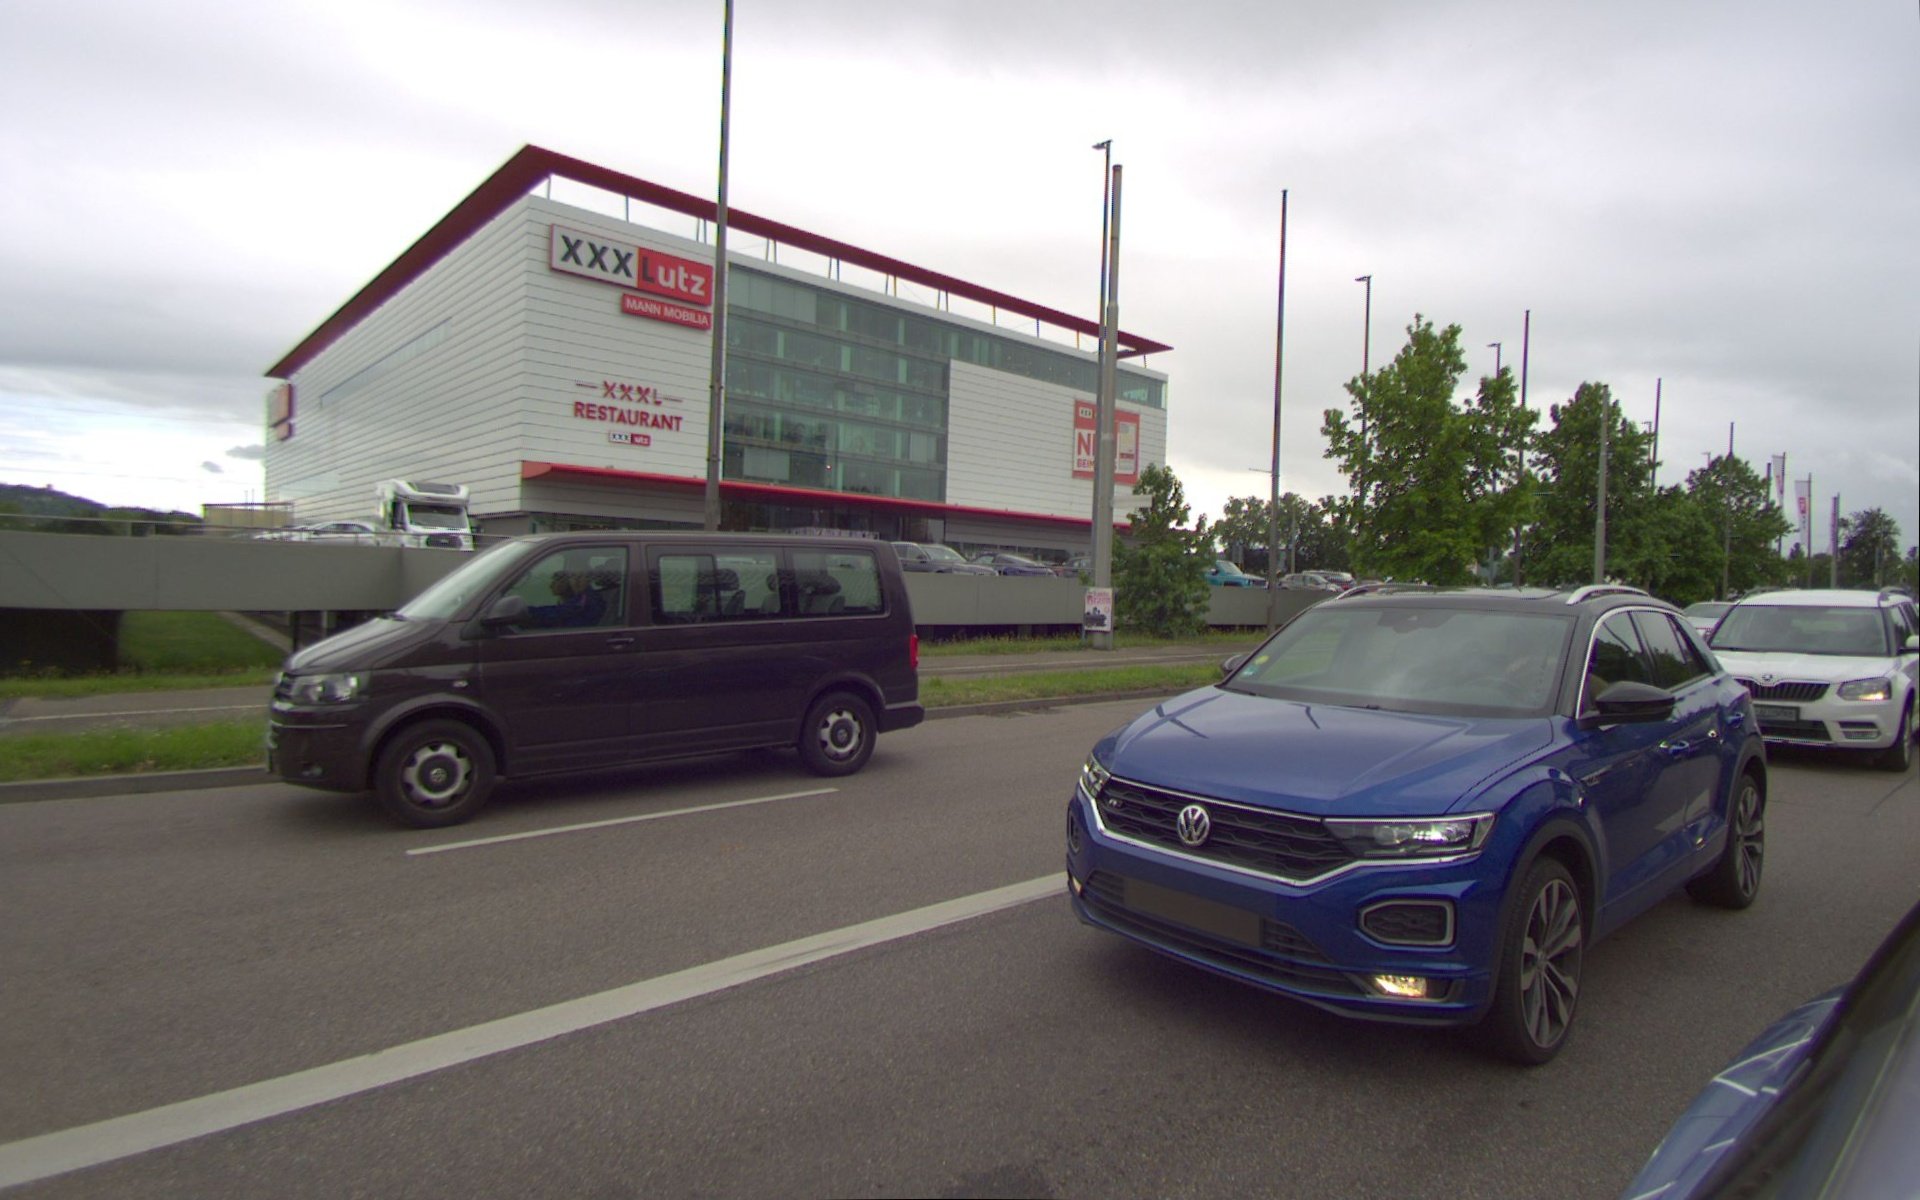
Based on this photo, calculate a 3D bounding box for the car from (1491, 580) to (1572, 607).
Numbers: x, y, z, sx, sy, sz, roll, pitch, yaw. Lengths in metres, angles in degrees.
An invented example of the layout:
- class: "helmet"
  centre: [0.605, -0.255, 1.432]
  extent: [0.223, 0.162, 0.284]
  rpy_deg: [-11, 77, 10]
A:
- class: "car"
  centre: [35.041, -0.414, 62.148]
  extent: [1.765, 1.585, 3.994]
  rpy_deg: [-1, 0, -40]

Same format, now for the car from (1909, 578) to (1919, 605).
- class: "car"
  centre: [83.130, -0.669, 87.026]
  extent: [3.933, 2.270, 1.996]
  rpy_deg: [1, 1, -44]

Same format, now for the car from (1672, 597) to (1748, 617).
- class: "car"
  centre: [54.396, 0.492, 73.441]
  extent: [1.771, 1.433, 4.212]
  rpy_deg: [-1, 1, -41]

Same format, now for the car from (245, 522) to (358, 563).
- class: "car"
  centre: [-30.161, -2.607, 46.419]
  extent: [4.185, 1.697, 1.774]
  rpy_deg: [-1, 0, -41]

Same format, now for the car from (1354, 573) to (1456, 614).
- class: "car"
  centre: [22.660, -0.331, 51.638]
  extent: [1.966, 2.039, 4.317]
  rpy_deg: [0, 0, -42]

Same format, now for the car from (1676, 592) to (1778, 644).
- class: "car"
  centre: [22.054, 0.472, 29.063]
  extent: [3.860, 1.389, 1.691]
  rpy_deg: [-1, 1, -43]

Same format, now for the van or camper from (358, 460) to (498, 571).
- class: "van or camper"
  centre: [-17.985, -2.636, 33.953]
  extent: [2.667, 3.175, 7.226]
  rpy_deg: [0, 0, -40]

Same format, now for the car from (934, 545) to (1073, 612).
- class: "car"
  centre: [1.273, -0.620, 30.625]
  extent: [1.967, 1.872, 3.991]
  rpy_deg: [-1, 0, -43]

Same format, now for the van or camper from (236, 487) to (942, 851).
- class: "van or camper"
  centre: [-2.729, 0.358, 8.032]
  extent: [4.852, 2.039, 2.163]
  rpy_deg: [-1, 0, -38]

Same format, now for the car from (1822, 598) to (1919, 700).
- class: "car"
  centre: [15.235, 0.702, 16.038]
  extent: [4.145, 1.433, 1.800]
  rpy_deg: [-1, 0, -41]

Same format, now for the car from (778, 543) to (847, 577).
- class: "car"
  centre: [-8.352, -2.212, 57.046]
  extent: [1.967, 1.761, 3.991]
  rpy_deg: [-1, 0, -43]

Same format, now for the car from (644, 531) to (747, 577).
- class: "car"
  centre: [-9.408, -1.571, 35.796]
  extent: [1.839, 1.455, 3.984]
  rpy_deg: [-1, 1, -44]

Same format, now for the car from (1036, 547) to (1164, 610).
- class: "car"
  centre: [4.737, -0.707, 34.580]
  extent: [1.966, 2.039, 3.991]
  rpy_deg: [0, 0, -42]

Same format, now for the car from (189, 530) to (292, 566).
- class: "car"
  centre: [-36.765, -2.626, 51.779]
  extent: [4.185, 1.697, 1.774]
  rpy_deg: [-1, 0, -41]

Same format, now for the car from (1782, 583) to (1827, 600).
- class: "car"
  centre: [99.417, -1.041, 119.137]
  extent: [3.987, 1.819, 1.969]
  rpy_deg: [3, 1, 44]

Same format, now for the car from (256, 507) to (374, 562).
- class: "car"
  centre: [-26.677, -2.663, 41.897]
  extent: [3.929, 2.039, 1.998]
  rpy_deg: [-1, 0, -40]

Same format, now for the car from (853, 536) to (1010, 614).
- class: "car"
  centre: [-0.893, -0.672, 28.639]
  extent: [1.967, 2.039, 4.522]
  rpy_deg: [0, 0, -43]

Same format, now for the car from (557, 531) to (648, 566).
- class: "car"
  centre: [-18.707, -2.661, 53.014]
  extent: [4.185, 1.697, 1.774]
  rpy_deg: [-1, 0, -41]

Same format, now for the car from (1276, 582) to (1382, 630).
- class: "car"
  centre: [16.423, 0.230, 45.184]
  extent: [1.966, 2.039, 3.991]
  rpy_deg: [0, 0, -42]

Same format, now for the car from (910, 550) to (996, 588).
- class: "car"
  centre: [-0.374, -1.462, 48.748]
  extent: [1.967, 1.761, 3.991]
  rpy_deg: [-1, 0, -43]

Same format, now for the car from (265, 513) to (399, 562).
- class: "car"
  centre: [-24.300, -2.373, 39.225]
  extent: [4.185, 1.697, 1.774]
  rpy_deg: [-1, 0, -41]

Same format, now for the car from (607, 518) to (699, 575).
- class: "car"
  centre: [-11.698, -1.977, 38.463]
  extent: [1.839, 1.972, 3.859]
  rpy_deg: [0, 0, -44]

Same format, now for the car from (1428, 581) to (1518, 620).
- class: "car"
  centre: [28.067, 0.015, 55.419]
  extent: [1.965, 2.039, 3.994]
  rpy_deg: [0, 0, -41]

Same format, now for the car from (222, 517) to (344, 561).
- class: "car"
  centre: [-29.035, -2.588, 43.485]
  extent: [4.185, 1.697, 1.774]
  rpy_deg: [-1, 0, -41]

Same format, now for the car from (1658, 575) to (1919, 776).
- class: "car"
  centre: [8.904, 0.594, 10.388]
  extent: [4.297, 1.645, 1.798]
  rpy_deg: [-1, 0, -40]

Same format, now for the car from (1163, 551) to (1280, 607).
- class: "car"
  centre: [10.083, -0.788, 39.187]
  extent: [1.966, 2.039, 3.991]
  rpy_deg: [0, 0, -42]

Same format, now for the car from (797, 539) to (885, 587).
- class: "car"
  centre: [-5.442, -1.630, 46.004]
  extent: [1.965, 2.039, 4.174]
  rpy_deg: [0, 0, -41]

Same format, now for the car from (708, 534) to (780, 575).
- class: "car"
  centre: [-11.404, -2.350, 53.338]
  extent: [1.966, 2.039, 3.991]
  rpy_deg: [0, 0, -42]

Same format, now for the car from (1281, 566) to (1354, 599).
- class: "car"
  centre: [22.904, -1.094, 64.938]
  extent: [1.966, 2.039, 3.991]
  rpy_deg: [0, 0, -42]

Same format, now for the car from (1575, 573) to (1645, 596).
- class: "car"
  centre: [47.514, -1.114, 74.000]
  extent: [1.765, 1.585, 3.994]
  rpy_deg: [-1, 0, -40]

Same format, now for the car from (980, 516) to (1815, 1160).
- class: "car"
  centre: [2.291, 0.580, 4.670]
  extent: [4.255, 1.642, 1.845]
  rpy_deg: [-1, 0, -40]
